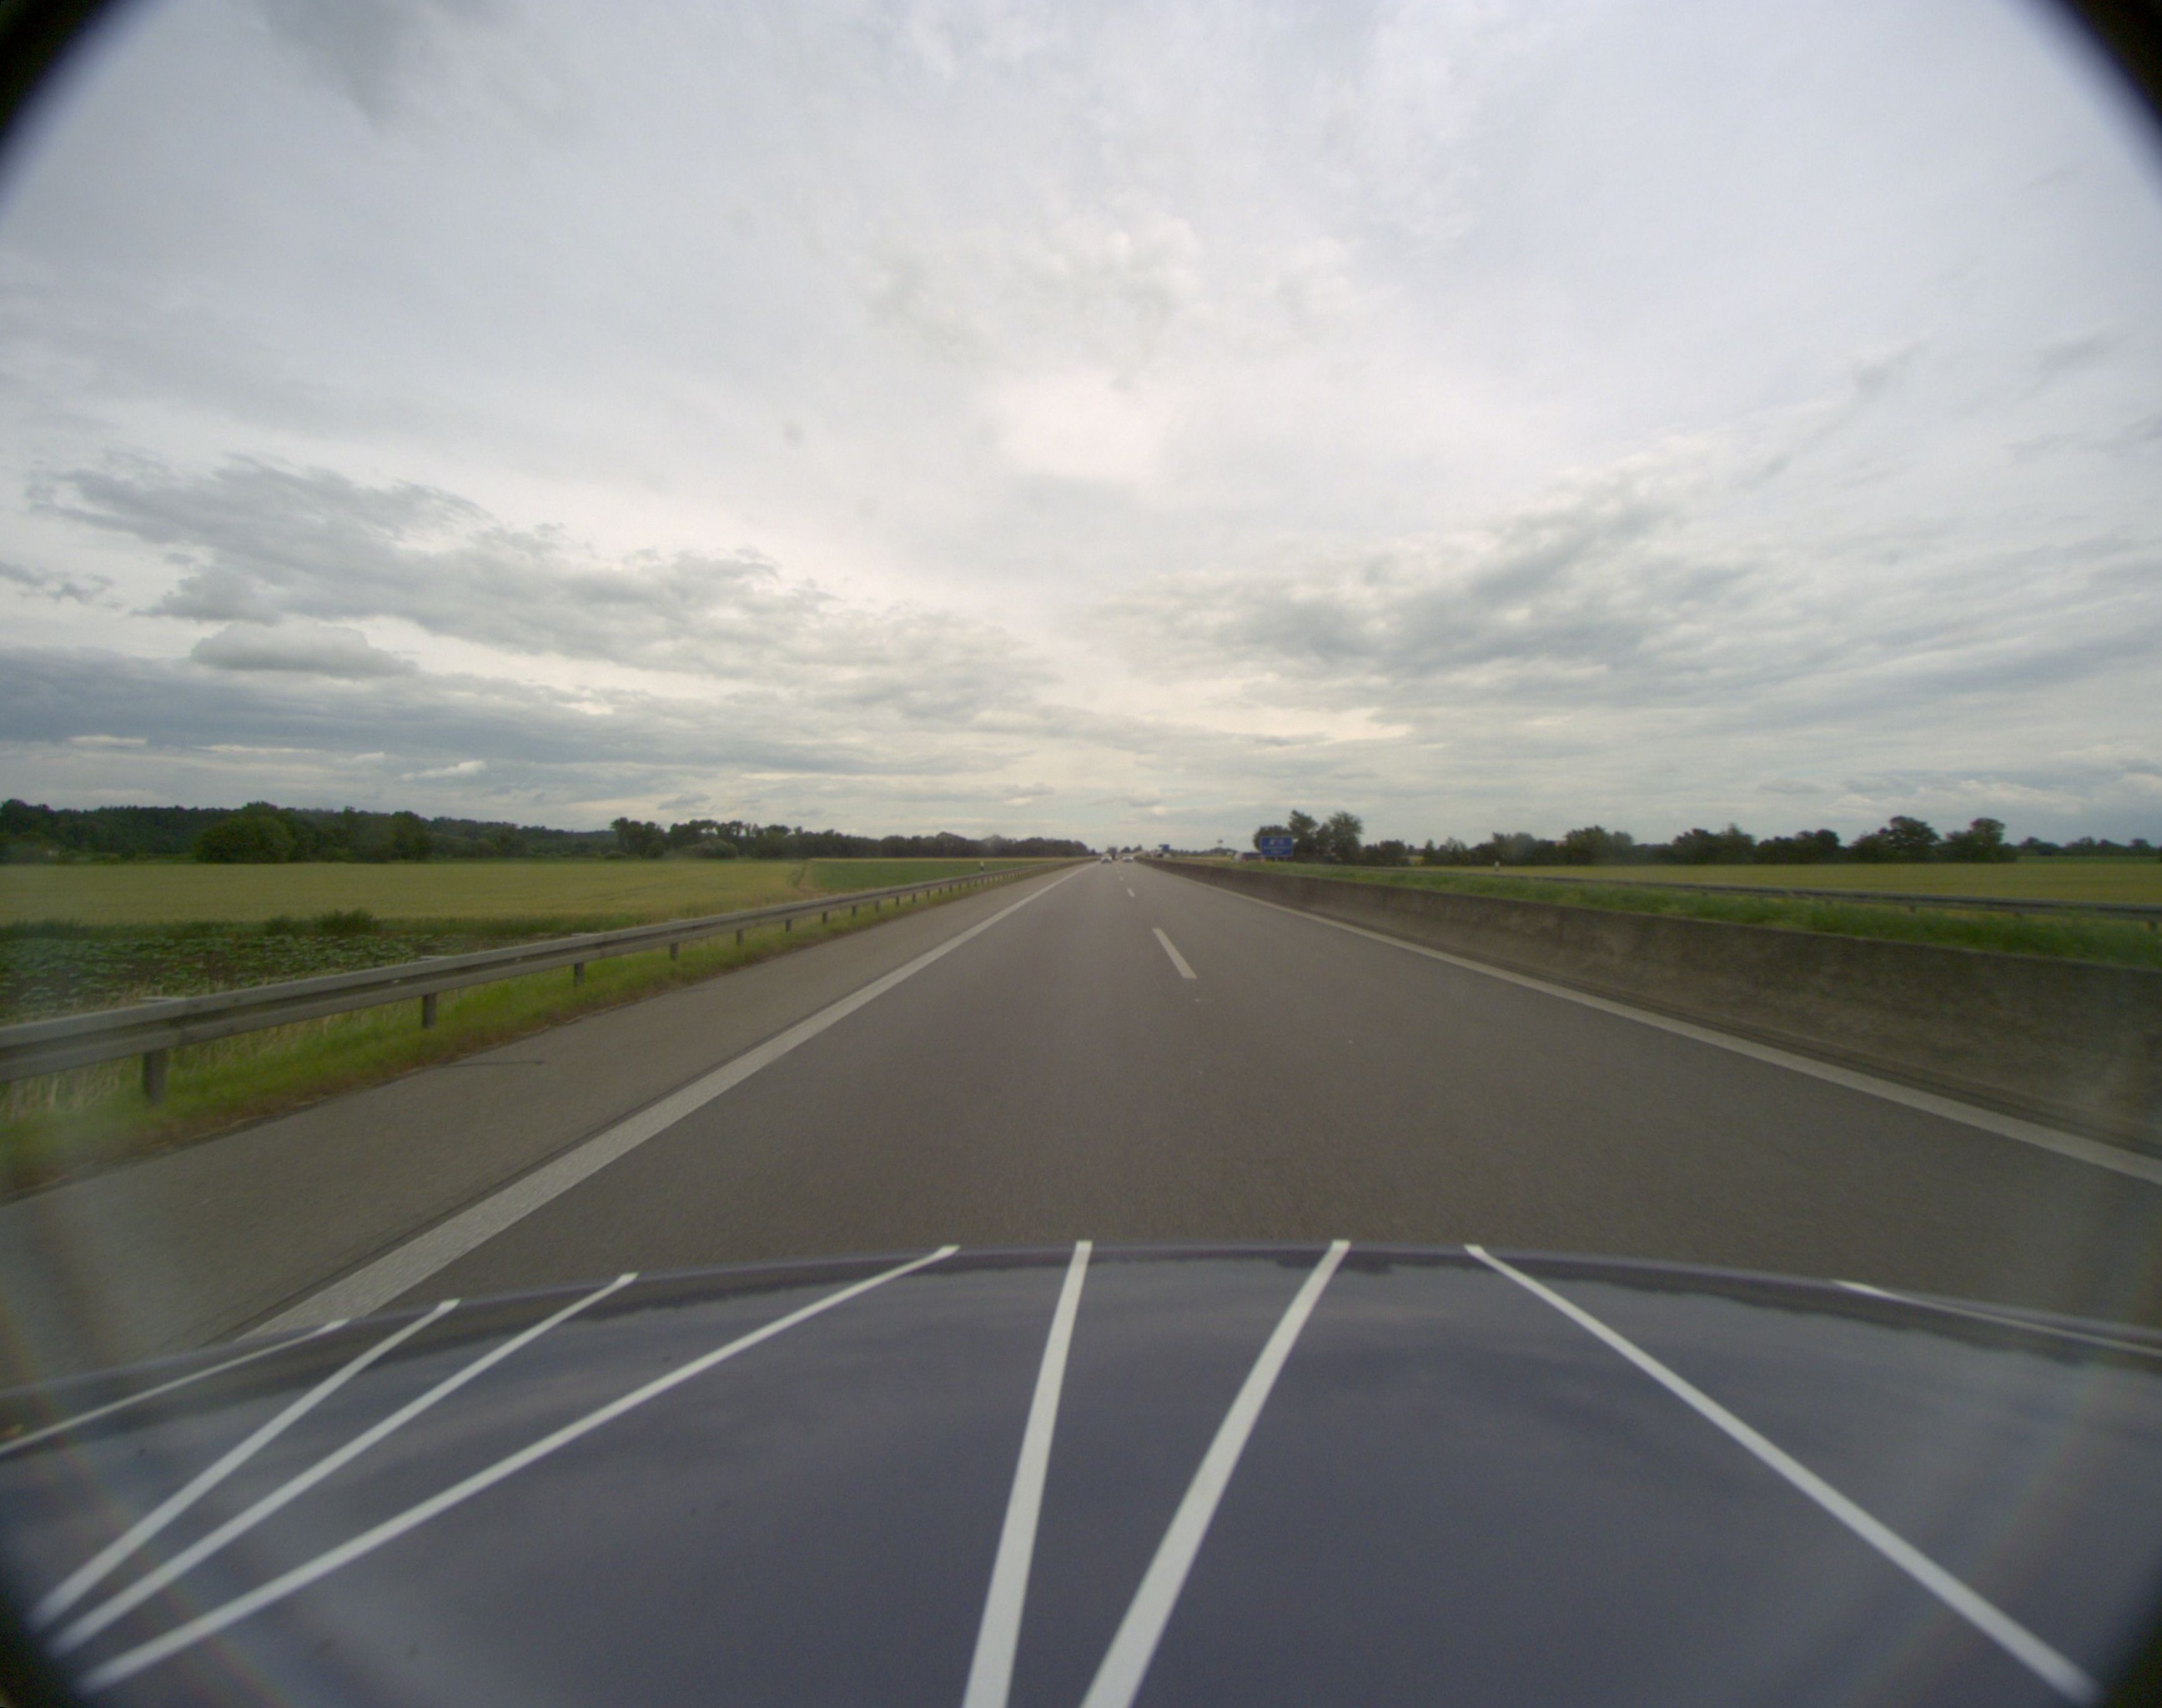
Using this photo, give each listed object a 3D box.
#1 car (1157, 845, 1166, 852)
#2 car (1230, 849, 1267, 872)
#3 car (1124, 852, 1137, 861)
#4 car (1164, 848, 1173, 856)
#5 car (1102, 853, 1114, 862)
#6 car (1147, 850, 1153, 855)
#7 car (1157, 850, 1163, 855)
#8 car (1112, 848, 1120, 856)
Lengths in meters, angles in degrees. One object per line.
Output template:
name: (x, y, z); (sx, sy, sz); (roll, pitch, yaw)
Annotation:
car: (19.708, -1.265, 186.330); (1.693, 1.617, 4.183); (-1, 0, 1)
car: (11.577, 0.438, 52.770); (1.693, 1.483, 4.183); (-1, 0, 1)
car: (9.638, 0.511, 148.871); (1.917, 1.553, 4.285); (-1, 1, -5)
car: (23.234, -0.444, 201.516); (2.035, 2.097, 4.906); (-1, 0, 4)
car: (4.904, 0.695, 138.098); (1.916, 1.553, 4.287); (-1, 1, 0)
car: (22.789, -0.469, 250.975); (1.693, 1.483, 4.183); (-1, 0, 1)
car: (25.832, -0.561, 249.064); (1.693, 1.483, 4.183); (-1, 0, 1)
car: (9.323, -0.570, 203.028); (1.915, 2.248, 5.313); (-1, 1, 3)
